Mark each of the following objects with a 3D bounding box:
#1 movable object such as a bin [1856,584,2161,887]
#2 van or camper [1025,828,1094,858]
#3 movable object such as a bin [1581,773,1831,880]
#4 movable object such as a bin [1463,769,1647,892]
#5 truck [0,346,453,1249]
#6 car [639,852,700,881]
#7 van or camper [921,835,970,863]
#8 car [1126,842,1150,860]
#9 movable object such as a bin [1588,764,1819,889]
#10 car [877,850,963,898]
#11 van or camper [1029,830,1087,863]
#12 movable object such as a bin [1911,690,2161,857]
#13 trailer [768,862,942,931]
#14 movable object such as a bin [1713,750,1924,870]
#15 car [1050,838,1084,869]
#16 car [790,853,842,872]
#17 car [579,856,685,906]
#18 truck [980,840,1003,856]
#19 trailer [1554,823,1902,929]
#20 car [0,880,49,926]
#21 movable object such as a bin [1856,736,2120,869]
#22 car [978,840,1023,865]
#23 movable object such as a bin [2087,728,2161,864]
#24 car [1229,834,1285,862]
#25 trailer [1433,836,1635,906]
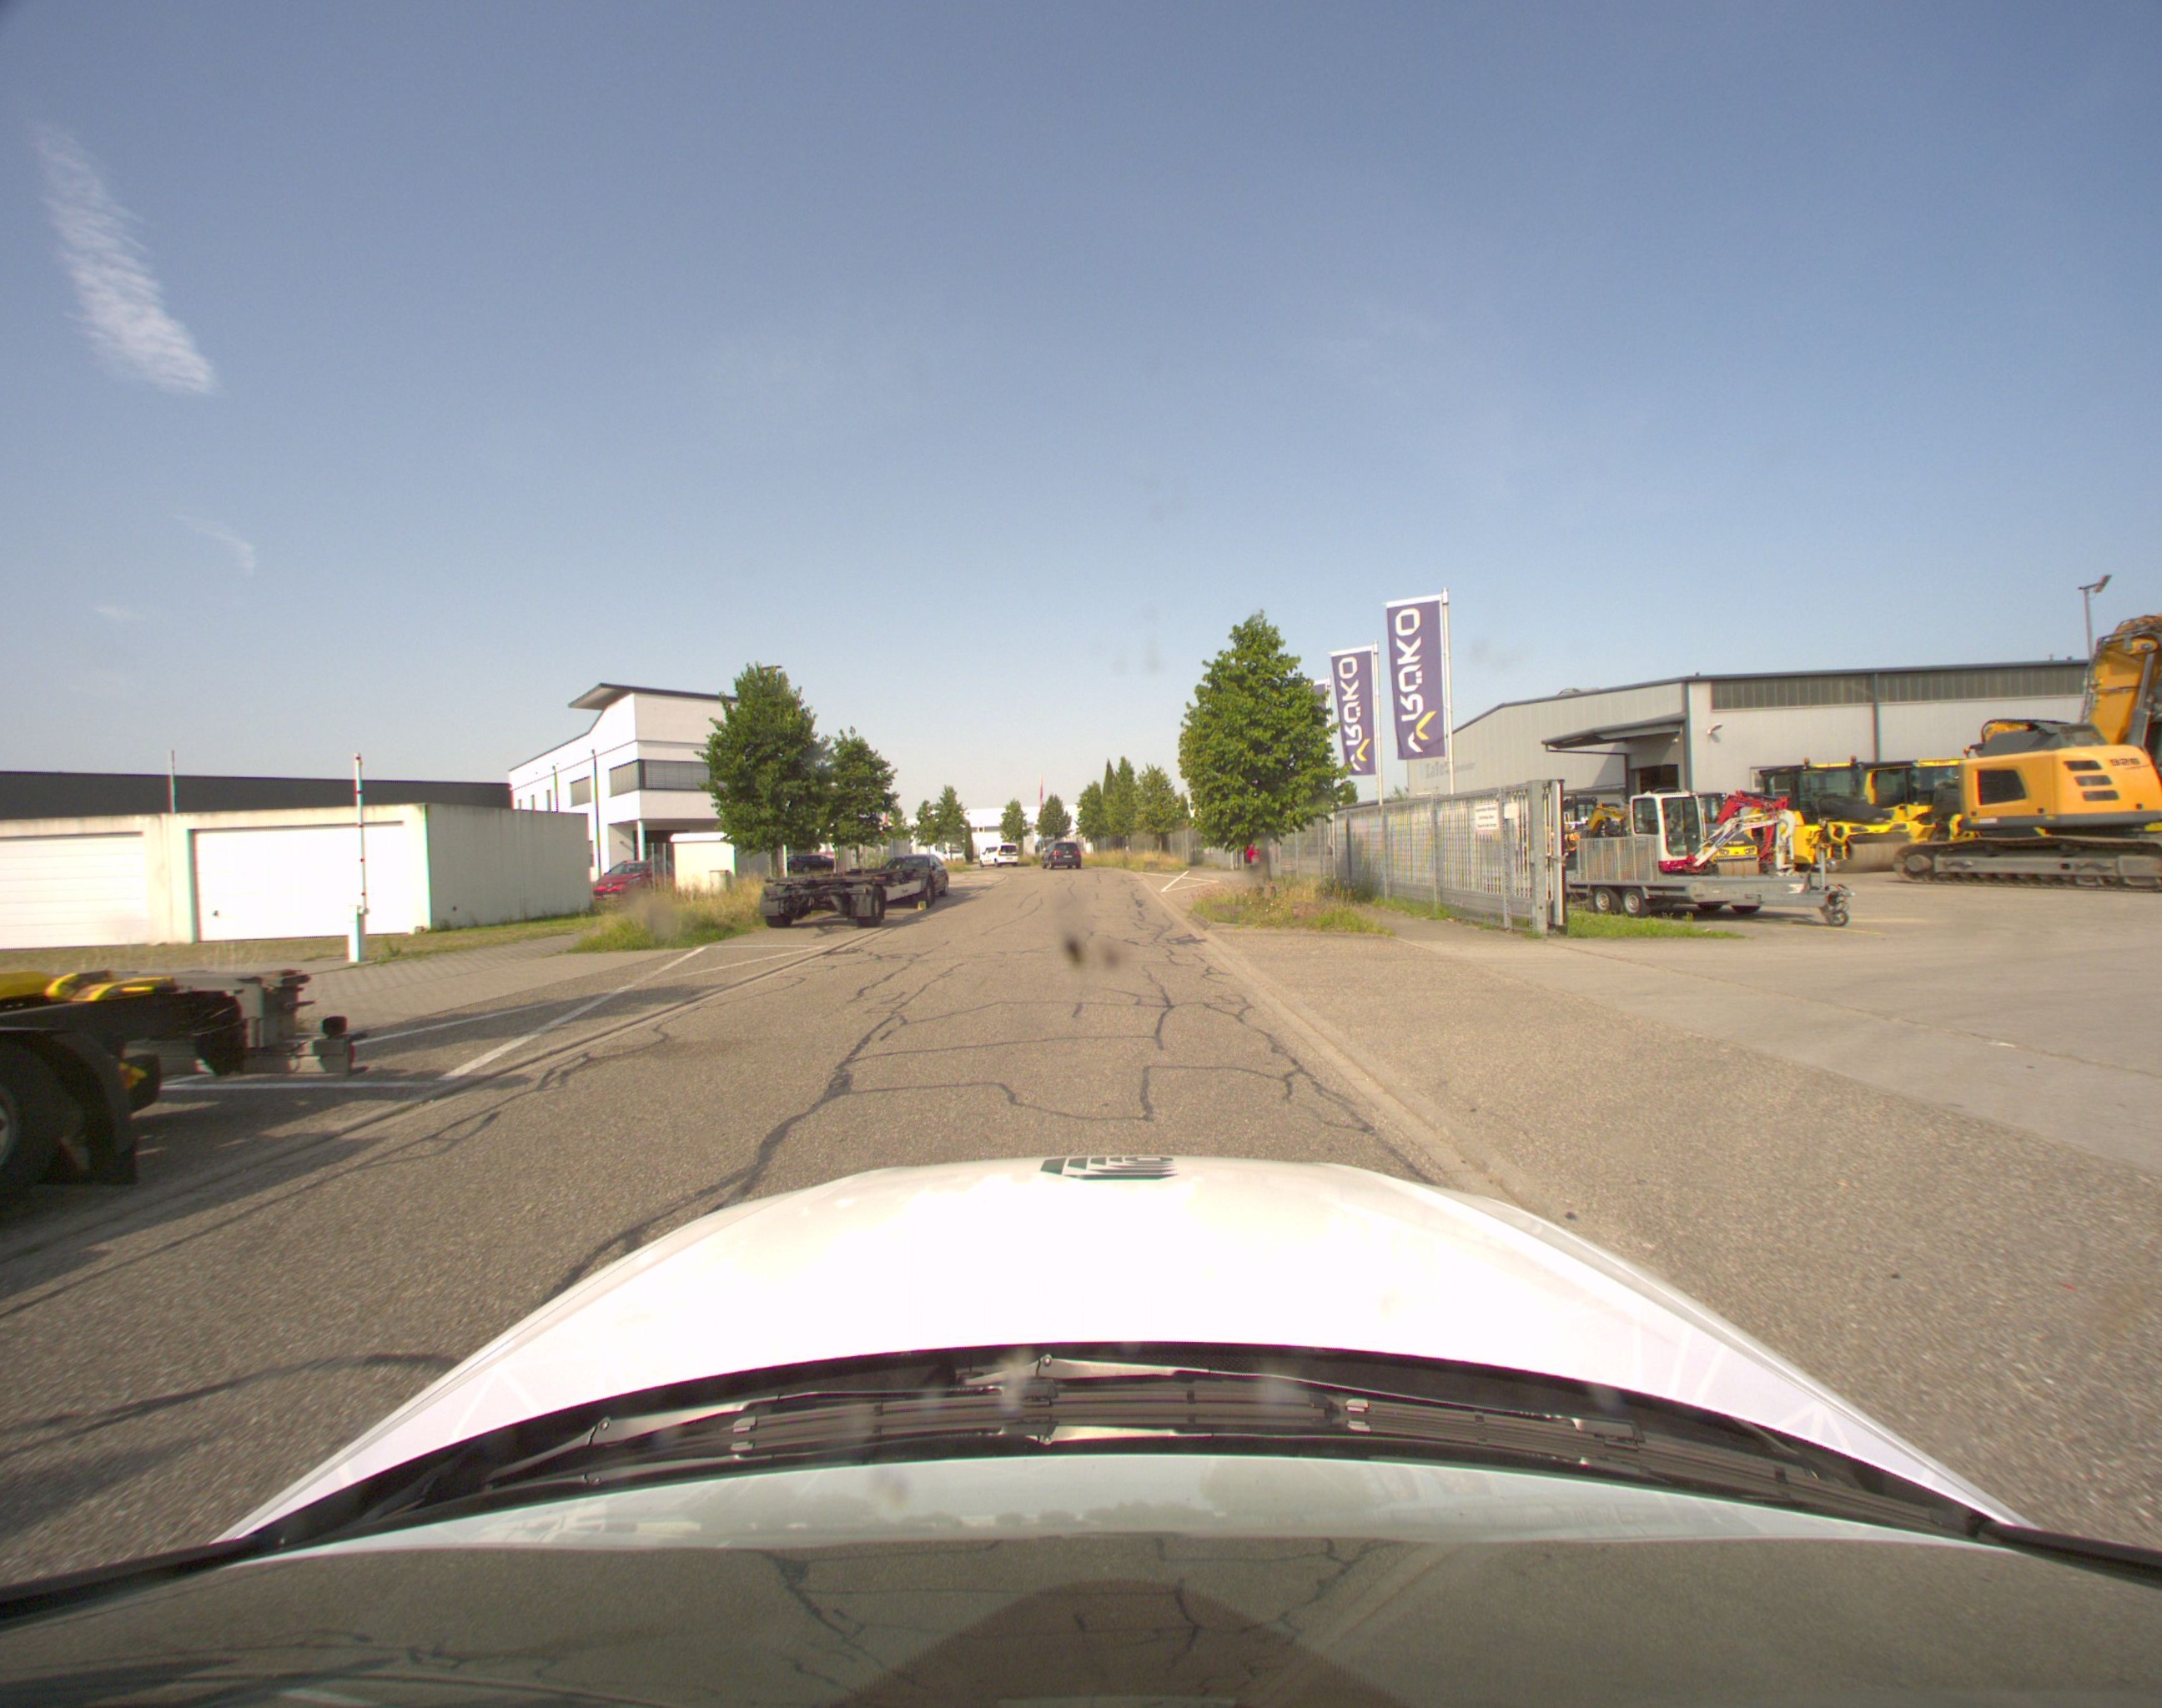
[{"bbox_3d":[18.836,-1.963,14.167,3.306,4.806,7.672,-2,1,0],"label":"movable object such as a bin"},{"bbox_3d":[-2.349,-1.183,88.641,7.248,3.032,2.581,-2,0,-5],"label":"van or camper"},{"bbox_3d":[16.955,-0.698,22.644,2.911,2.491,5.341,-2,1,2],"label":"movable object such as a bin"},{"bbox_3d":[12.114,-0.572,21.322,1.879,2.752,5.162,-2,1,2],"label":"movable object such as a bin"},{"bbox_3d":[-5.978,-0.236,1.001,2.445,3.881,9.809,-1,0,3],"label":"truck"},{"bbox_3d":[-22.732,0.704,44.956,1.880,1.487,3.951,-3,1,-44],"label":"car"},{"bbox_3d":[-14.974,-0.497,89.389,2.349,2.943,6.893,-2,1,-36],"label":"van or camper"},{"bbox_3d":[5.262,-0.291,75.776,1.719,1.643,3.994,-1,1,-4],"label":"car"},{"bbox_3d":[14.198,-0.587,19.015,1.983,2.458,4.771,-2,1,5],"label":"movable object such as a bin"},{"bbox_3d":[-5.520,0.648,28.507,1.986,1.466,4.434,-1,1,2],"label":"car"},{"bbox_3d":[-2.271,-0.667,77.144,2.364,2.847,7.271,-2,0,-30],"label":"van or camper"},{"bbox_3d":[26.360,-1.958,21.709,2.674,3.873,5.721,-2,1,2],"label":"movable object such as a bin"},{"bbox_3d":[-5.359,0.925,20.701,2.121,1.232,7.162,-1,1,2],"label":"trailer"},{"bbox_3d":[20.889,-1.174,23.385,1.985,3.031,4.494,-2,1,2],"label":"movable object such as a bin"},{"bbox_3d":[-0.929,-0.045,50.267,1.989,1.804,3.996,-1,1,-3],"label":"car"},{"bbox_3d":[-21.046,0.657,64.758,1.576,1.454,3.525,-2,0,43],"label":"car"},{"bbox_3d":[-16.767,0.946,30.670,1.767,1.525,4.298,-2,2,-4],"label":"car"},{"bbox_3d":[-13.932,-0.959,127.189,2.441,2.265,8.006,-2,1,2],"label":"truck"},{"bbox_3d":[9.763,0.293,12.907,1.986,1.310,4.566,-2,0,2],"label":"trailer"},{"bbox_3d":[-43.021,1.993,30.915,1.979,1.727,4.451,-2,1,-2],"label":"car"},{"bbox_3d":[23.195,-1.224,21.146,1.985,3.031,4.375,-2,1,2],"label":"movable object such as a bin"},{"bbox_3d":[-6.547,-0.114,65.525,2.005,1.899,4.427,-3,1,-28],"label":"car"},{"bbox_3d":[22.999,-1.188,14.341,2.692,2.715,6.348,-3,1,0],"label":"movable object such as a bin"},{"bbox_3d":[9.604,-0.335,44.869,1.876,1.357,4.769,-2,1,-2],"label":"car"},{"bbox_3d":[9.503,0.292,17.562,1.938,1.243,4.293,-2,1,0],"label":"trailer"}]
